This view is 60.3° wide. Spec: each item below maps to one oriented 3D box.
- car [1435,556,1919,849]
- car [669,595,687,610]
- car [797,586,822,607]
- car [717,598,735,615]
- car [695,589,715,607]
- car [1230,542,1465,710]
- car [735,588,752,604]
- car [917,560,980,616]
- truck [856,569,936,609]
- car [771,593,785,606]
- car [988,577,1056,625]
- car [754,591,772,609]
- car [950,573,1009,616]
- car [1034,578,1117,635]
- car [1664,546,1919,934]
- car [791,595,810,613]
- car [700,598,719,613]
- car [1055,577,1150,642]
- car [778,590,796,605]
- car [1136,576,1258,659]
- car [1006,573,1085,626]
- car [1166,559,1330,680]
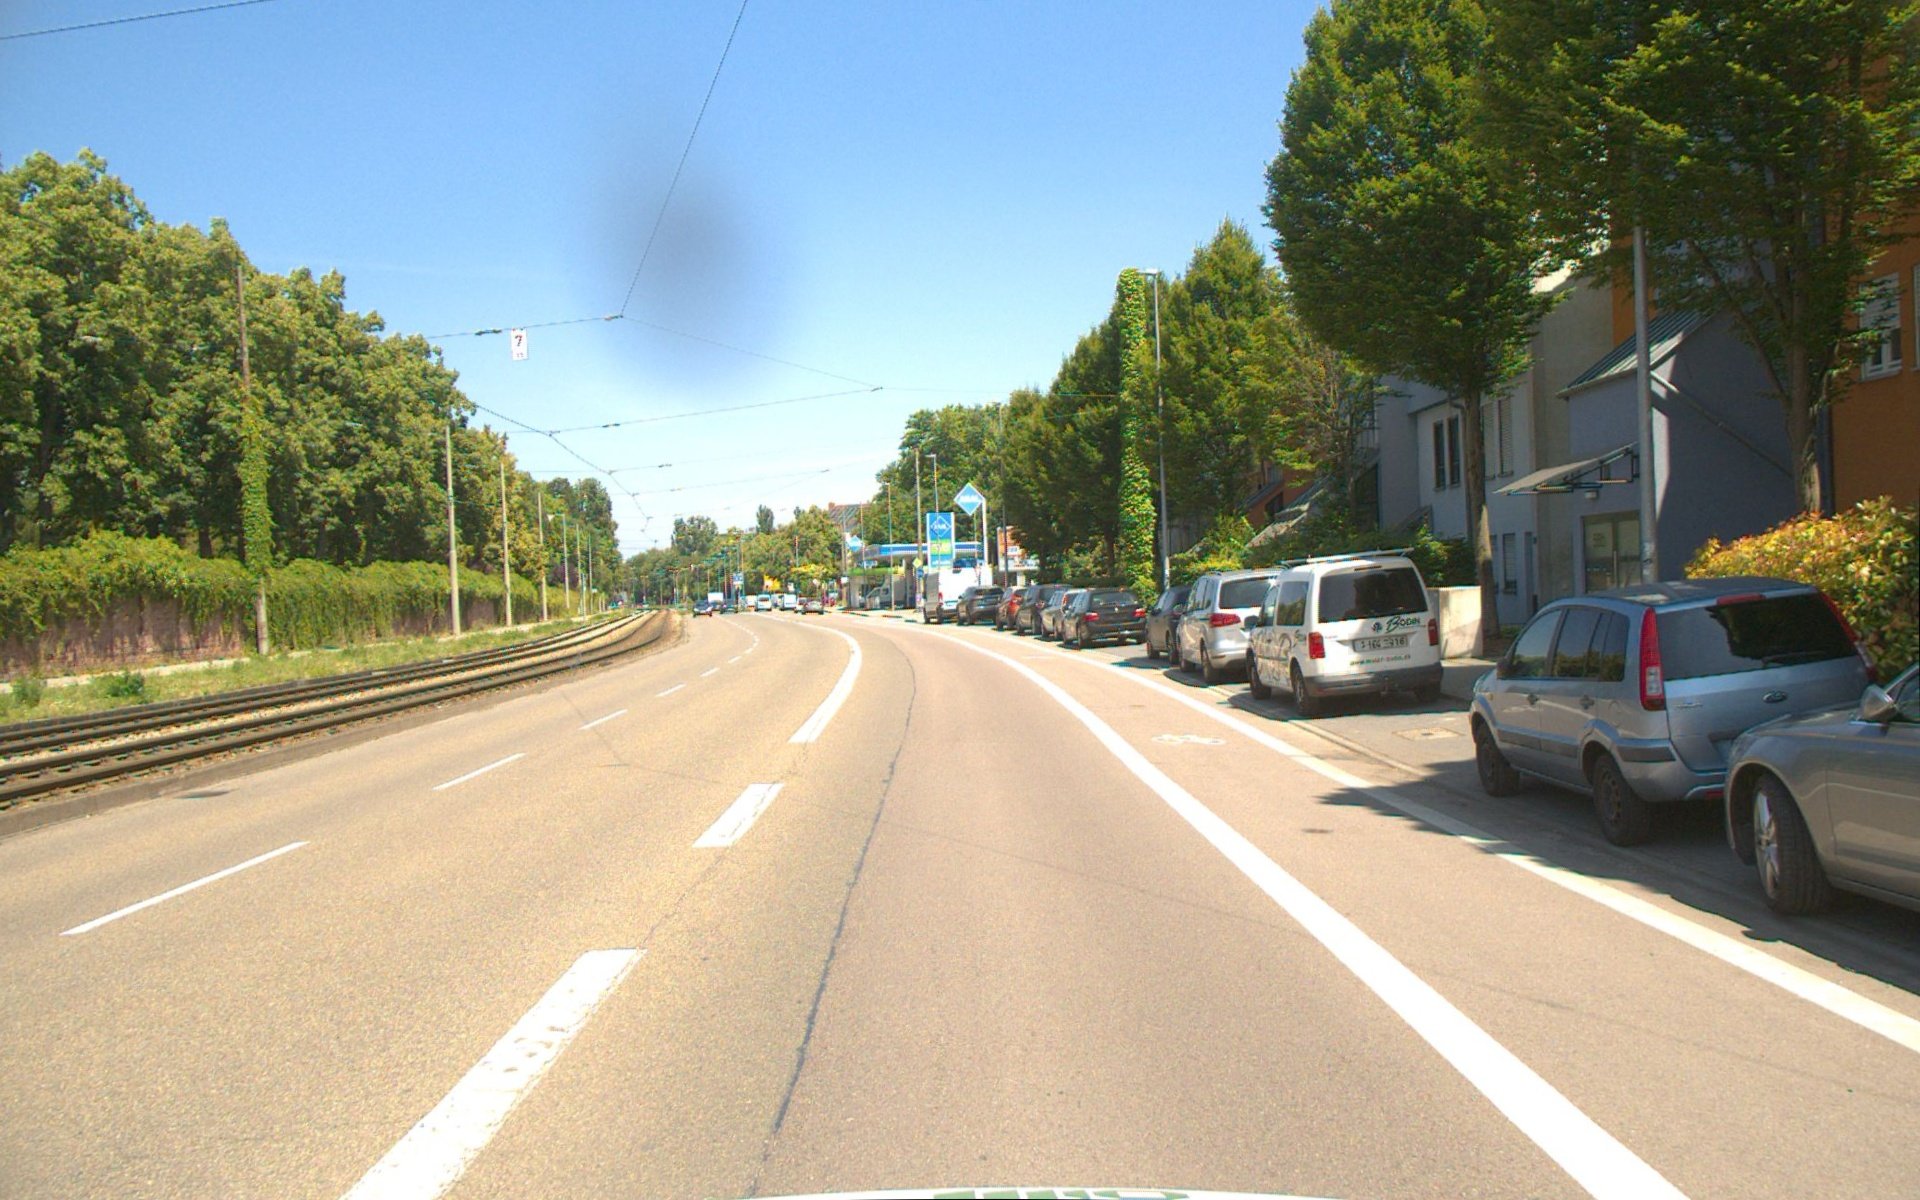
[{"bbox_3d":[4.861,0.551,11.644,1.803,1.555,4.217,-4,1,1],"label":"car"},{"bbox_3d":[-34.190,0.291,200.308,1.727,1.658,4.307,-5,1,-14],"label":"car"},{"bbox_3d":[-13.071,-0.290,143.711,1.724,1.658,4.314,-5,1,-9],"label":"car"},{"bbox_3d":[-24.561,0.666,173.448,1.724,1.658,4.314,-5,1,-9],"label":"car"},{"bbox_3d":[-23.319,-0.175,151.236,1.724,1.535,4.314,-5,1,-9],"label":"car"},{"bbox_3d":[4.903,0.273,21.585,1.804,1.824,4.352,-4,1,-2],"label":"car"},{"bbox_3d":[-24.526,-0.450,187.082,1.723,1.658,4.316,-5,1,-8],"label":"car"},{"bbox_3d":[-0.628,-0.595,81.745,1.965,2.499,6.094,-5,1,-10],"label":"car"},{"bbox_3d":[-6.382,-1.148,165.632,7.810,3.665,2.661,-2,1,-4],"label":"truck"},{"bbox_3d":[-27.021,-0.073,245.439,1.724,1.658,4.314,-5,1,-9],"label":"car"},{"bbox_3d":[2.269,0.023,61.691,1.675,1.589,4.316,-5,1,-8],"label":"car"},{"bbox_3d":[-22.574,-0.004,189.156,1.724,1.907,4.314,-5,1,-9],"label":"car"},{"bbox_3d":[0.811,-0.228,71.647,1.724,1.658,4.314,-5,1,-9],"label":"car"},{"bbox_3d":[3.454,0.172,50.259,1.674,1.518,4.726,-5,1,-5],"label":"car"},{"bbox_3d":[4.890,0.558,6.538,1.804,1.555,4.963,-5,1,-3],"label":"car"},{"bbox_3d":[-16.447,0.372,170.415,1.723,1.658,4.316,-5,1,-8],"label":"car"},{"bbox_3d":[-30.263,0.658,200.005,1.727,1.658,4.307,-5,1,-14],"label":"car"},{"bbox_3d":[3.781,0.207,44.613,1.674,1.518,5.034,-5,1,-4],"label":"car"},{"bbox_3d":[-19.994,-0.283,191.084,1.724,1.658,4.314,-5,1,-9],"label":"car"},{"bbox_3d":[4.664,0.299,33.133,1.552,1.448,4.178,-5,1,-3],"label":"car"},{"bbox_3d":[2.823,-0.032,55.780,1.676,1.589,4.314,-5,1,-10],"label":"car"},{"bbox_3d":[4.713,0.261,27.768,1.803,1.723,4.778,-4,1,0],"label":"car"}]
